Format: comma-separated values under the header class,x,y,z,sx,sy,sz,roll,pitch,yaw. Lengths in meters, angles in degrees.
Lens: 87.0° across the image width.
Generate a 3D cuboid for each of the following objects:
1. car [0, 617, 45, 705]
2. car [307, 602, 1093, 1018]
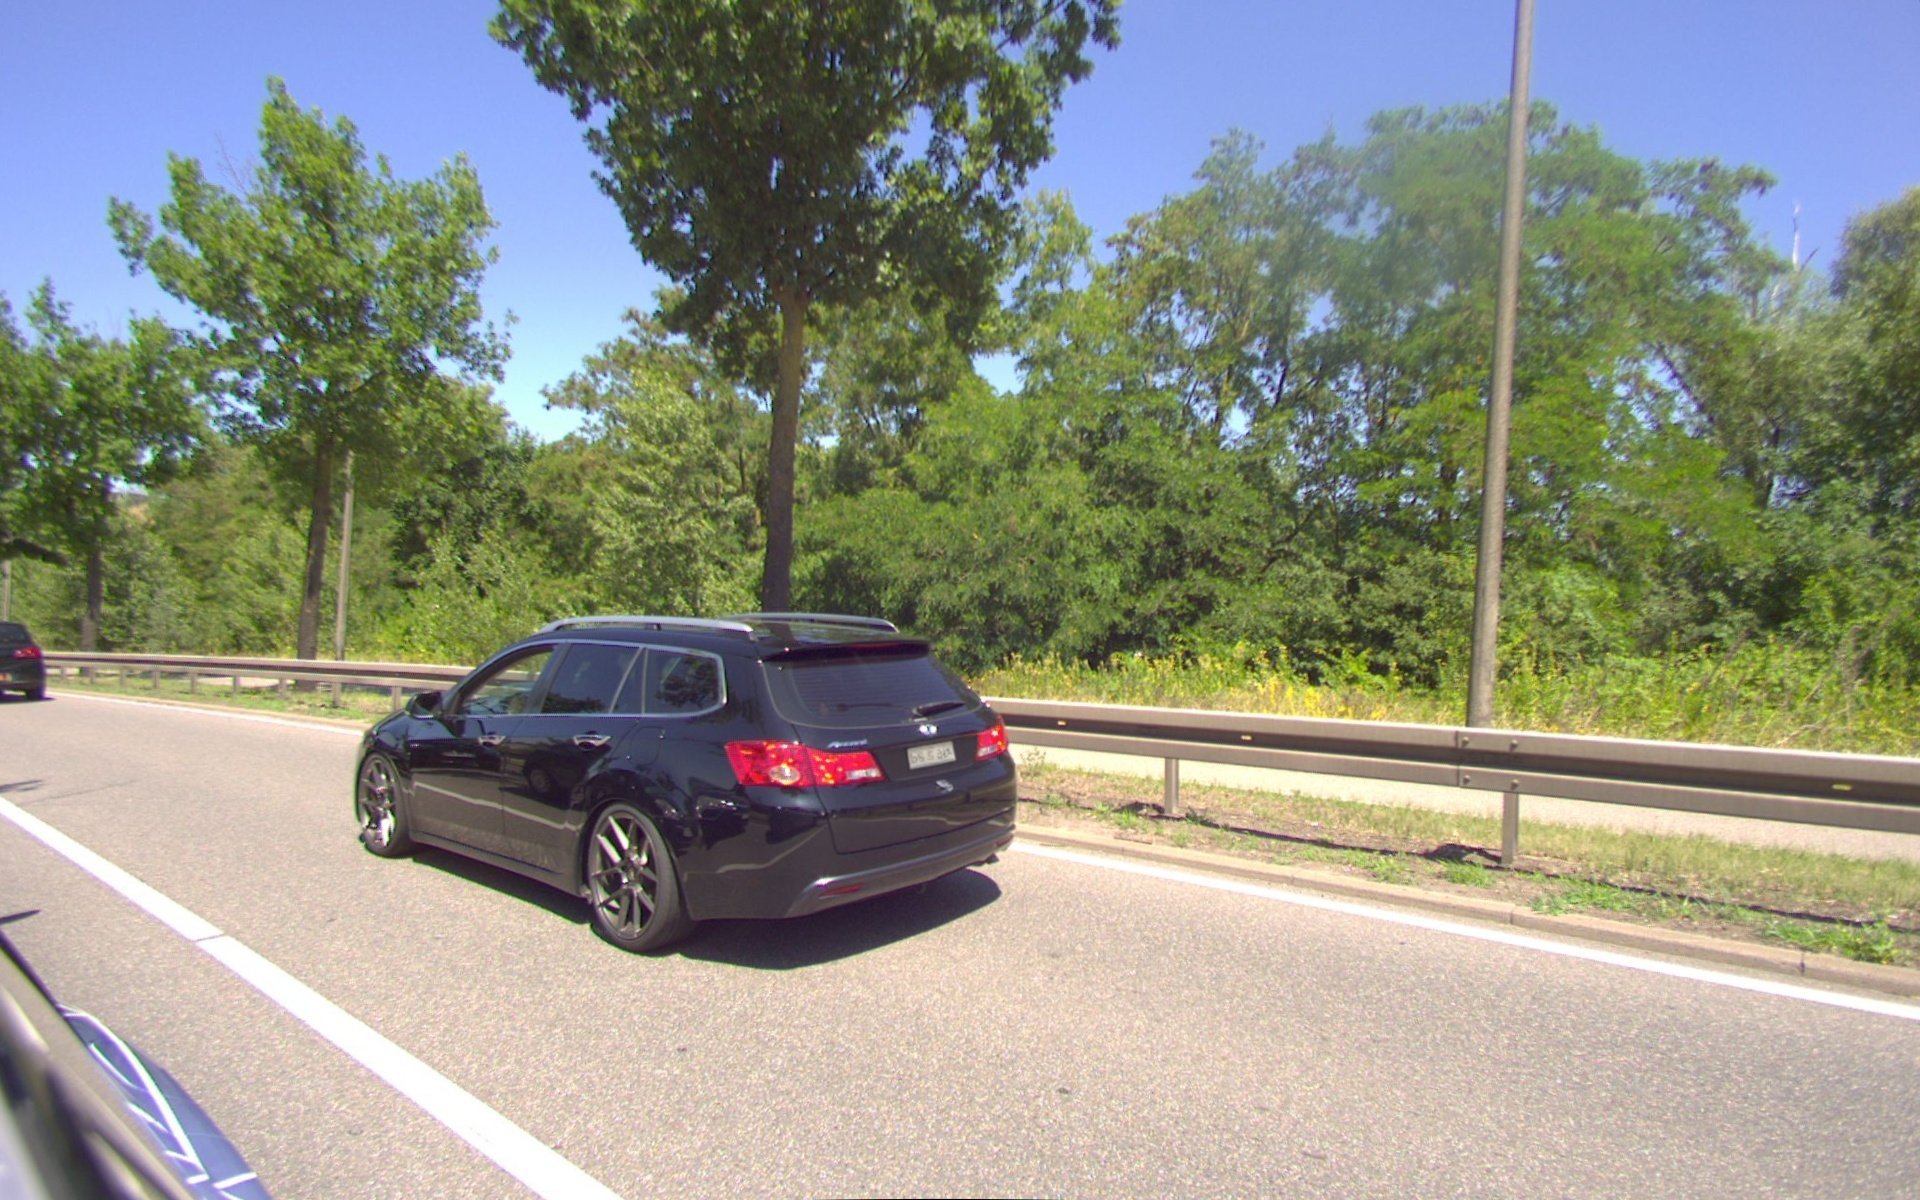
class,x,y,z,sx,sy,sz,roll,pitch,yaw
car,-18.167,1.073,18.239,3.725,1.503,1.730,-1,-1,35
car,-1.751,0.754,5.651,4.665,1.391,1.858,-1,0,39
